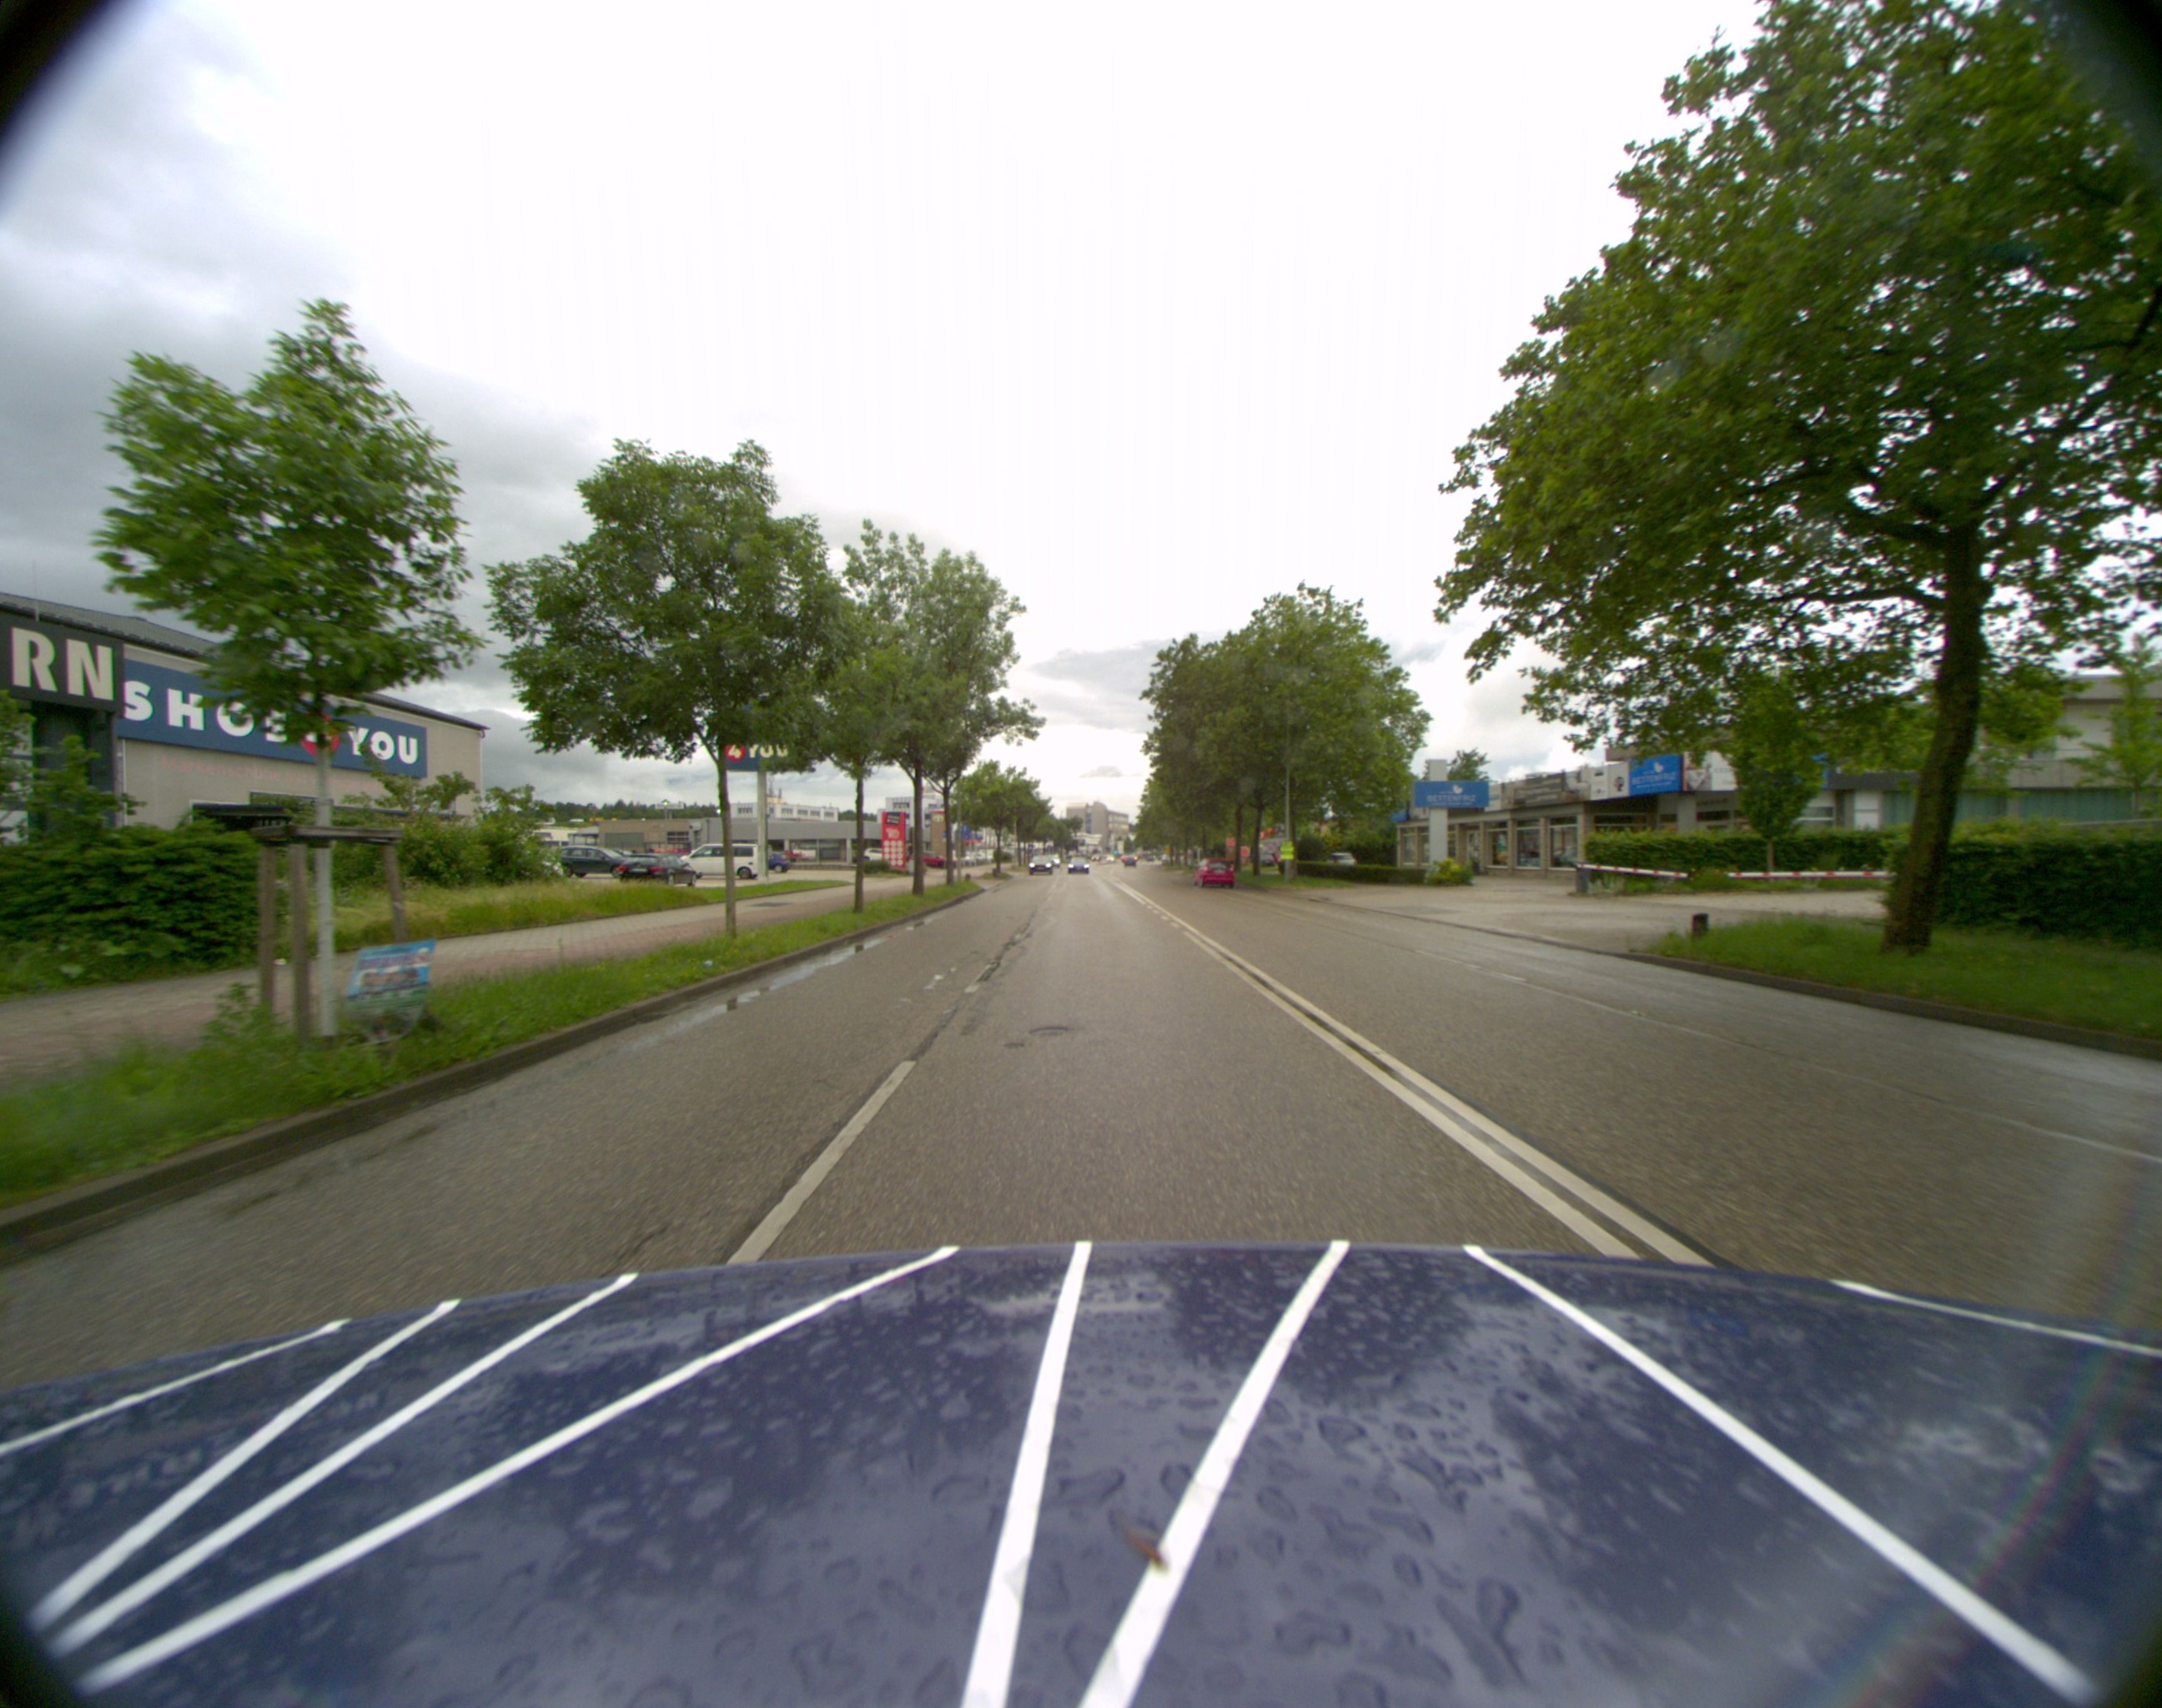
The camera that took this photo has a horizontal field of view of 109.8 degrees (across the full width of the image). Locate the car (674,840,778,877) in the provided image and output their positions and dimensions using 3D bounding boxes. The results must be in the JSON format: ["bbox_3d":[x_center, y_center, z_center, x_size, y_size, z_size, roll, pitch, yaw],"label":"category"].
[{"bbox_3d":[-19.974,0.267,42.924,4.966,2.002,1.998,1,1,-12],"label":"car"}]

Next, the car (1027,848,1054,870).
[{"bbox_3d":[-3.382,0.388,64.324,1.998,1.632,4.360,-2,1,1],"label":"car"}]

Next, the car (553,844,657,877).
[{"bbox_3d":[-26.235,0.337,42.018,4.454,1.752,1.998,0,0,-10],"label":"car"}]

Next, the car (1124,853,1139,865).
[{"bbox_3d":[7.353,0.680,110.878,1.998,1.632,4.360,0,0,1],"label":"car"}]

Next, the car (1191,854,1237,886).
[{"bbox_3d":[6.963,0.788,40.052,1.746,1.525,4.000,2,1,1],"label":"car"}]

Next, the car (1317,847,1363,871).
[{"bbox_3d":[17.581,0.325,51.751,1.746,1.525,4.000,2,1,1],"label":"car"}]

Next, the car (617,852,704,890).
[{"bbox_3d":[-16.938,0.648,30.825,1.755,1.405,4.132,1,0,-9],"label":"car"}]

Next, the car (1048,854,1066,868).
[{"bbox_3d":[-3.045,0.862,97.381,1.998,1.632,4.360,-2,1,1],"label":"car"}]

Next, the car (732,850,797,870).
[{"bbox_3d":[-22.445,0.456,54.072,4.001,1.390,1.675,0,0,-11],"label":"car"}]

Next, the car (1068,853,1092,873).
[{"bbox_3d":[-0.064,0.775,68.414,1.998,1.632,4.360,-2,1,1],"label":"car"}]
